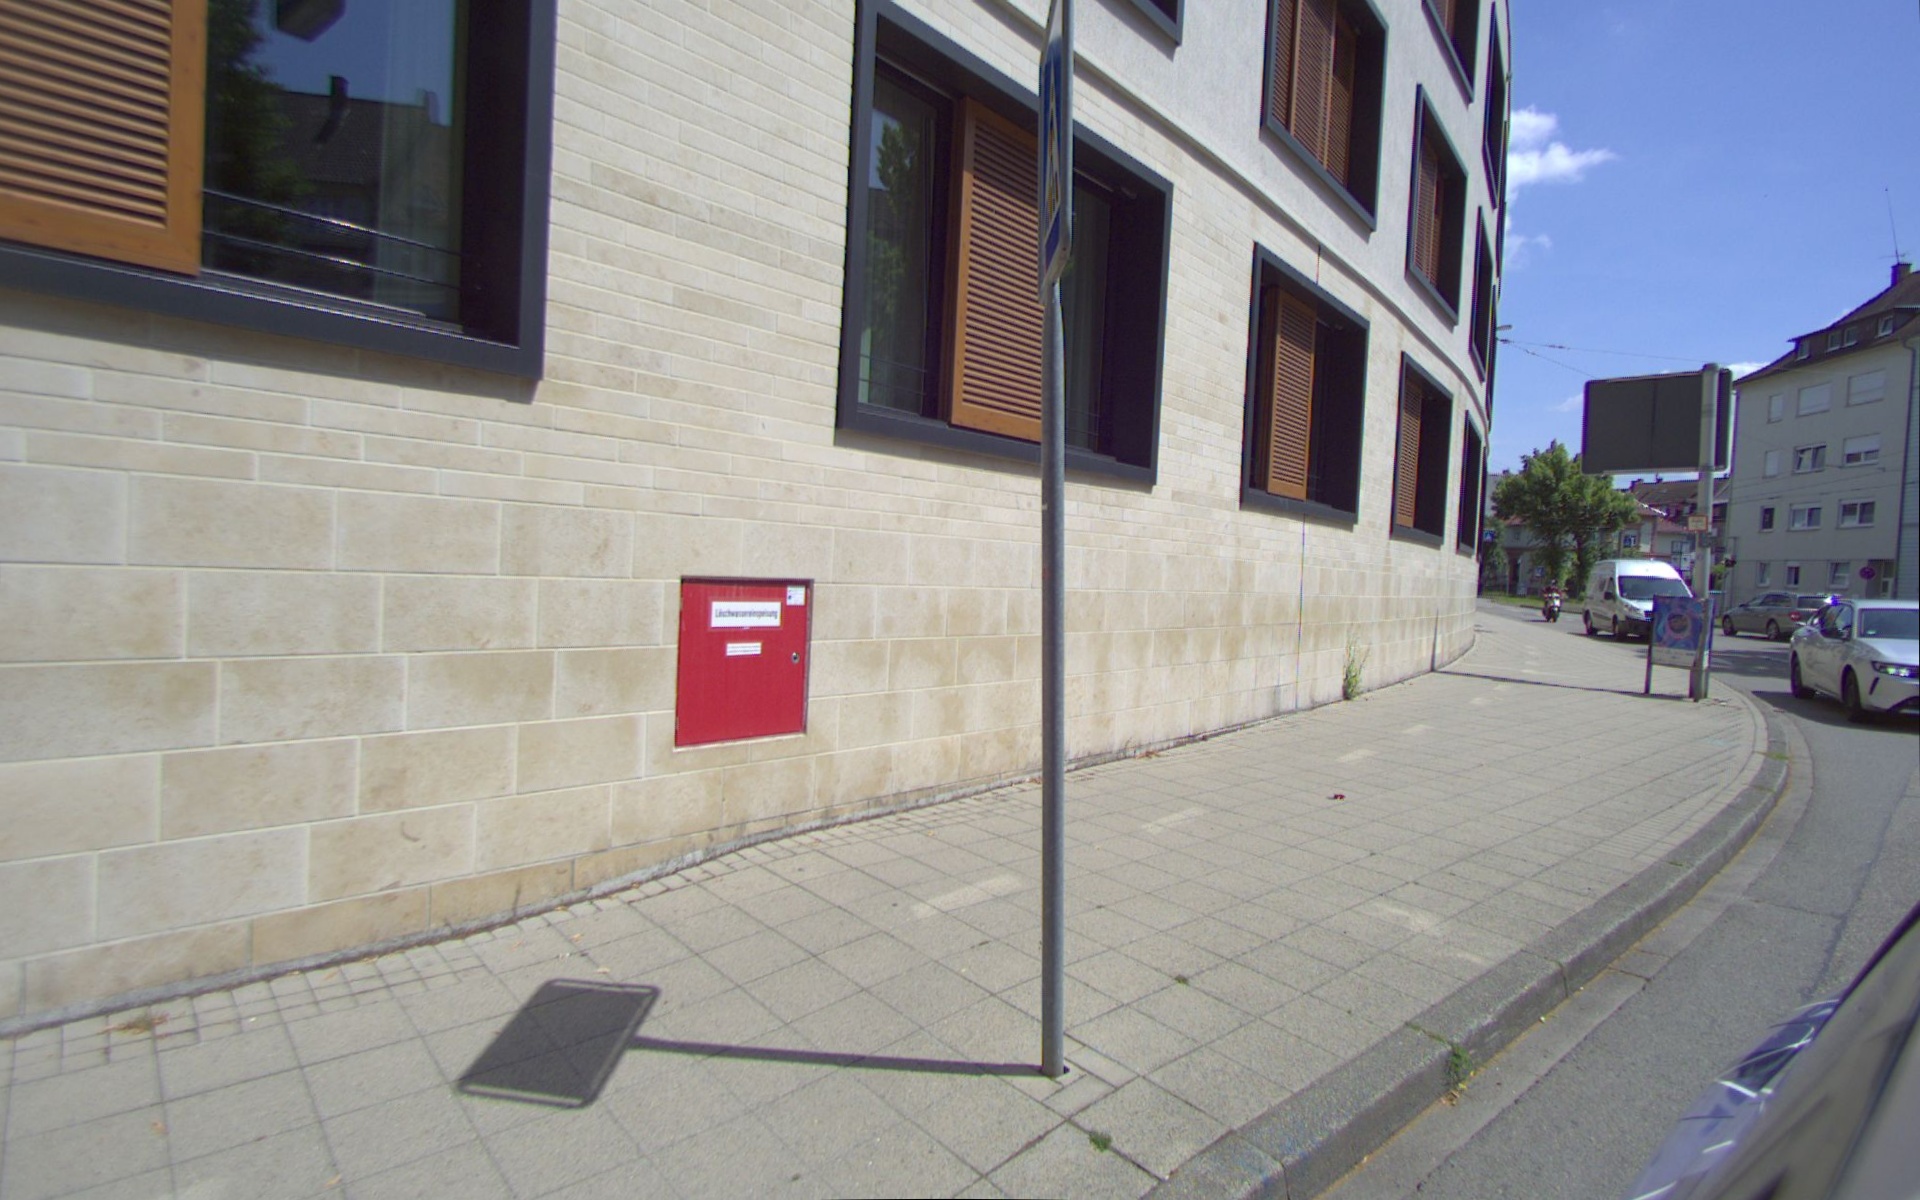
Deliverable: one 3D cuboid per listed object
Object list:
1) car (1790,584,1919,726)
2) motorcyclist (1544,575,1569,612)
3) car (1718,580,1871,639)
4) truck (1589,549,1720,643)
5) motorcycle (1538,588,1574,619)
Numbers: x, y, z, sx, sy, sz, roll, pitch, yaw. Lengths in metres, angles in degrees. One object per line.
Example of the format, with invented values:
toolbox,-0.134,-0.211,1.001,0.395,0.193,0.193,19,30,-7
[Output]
car,12.016,0.595,12.577,1.786,1.484,4.132,2,3,28
motorcyclist,22.469,-0.257,38.130,0.728,1.353,1.159,2,1,28
car,24.611,0.215,30.067,1.718,1.506,4.390,2,2,14
truck,18.960,-0.206,27.911,2.000,2.276,5.363,3,3,25
motorcycle,22.564,0.119,38.349,1.048,1.093,2.591,2,1,28
